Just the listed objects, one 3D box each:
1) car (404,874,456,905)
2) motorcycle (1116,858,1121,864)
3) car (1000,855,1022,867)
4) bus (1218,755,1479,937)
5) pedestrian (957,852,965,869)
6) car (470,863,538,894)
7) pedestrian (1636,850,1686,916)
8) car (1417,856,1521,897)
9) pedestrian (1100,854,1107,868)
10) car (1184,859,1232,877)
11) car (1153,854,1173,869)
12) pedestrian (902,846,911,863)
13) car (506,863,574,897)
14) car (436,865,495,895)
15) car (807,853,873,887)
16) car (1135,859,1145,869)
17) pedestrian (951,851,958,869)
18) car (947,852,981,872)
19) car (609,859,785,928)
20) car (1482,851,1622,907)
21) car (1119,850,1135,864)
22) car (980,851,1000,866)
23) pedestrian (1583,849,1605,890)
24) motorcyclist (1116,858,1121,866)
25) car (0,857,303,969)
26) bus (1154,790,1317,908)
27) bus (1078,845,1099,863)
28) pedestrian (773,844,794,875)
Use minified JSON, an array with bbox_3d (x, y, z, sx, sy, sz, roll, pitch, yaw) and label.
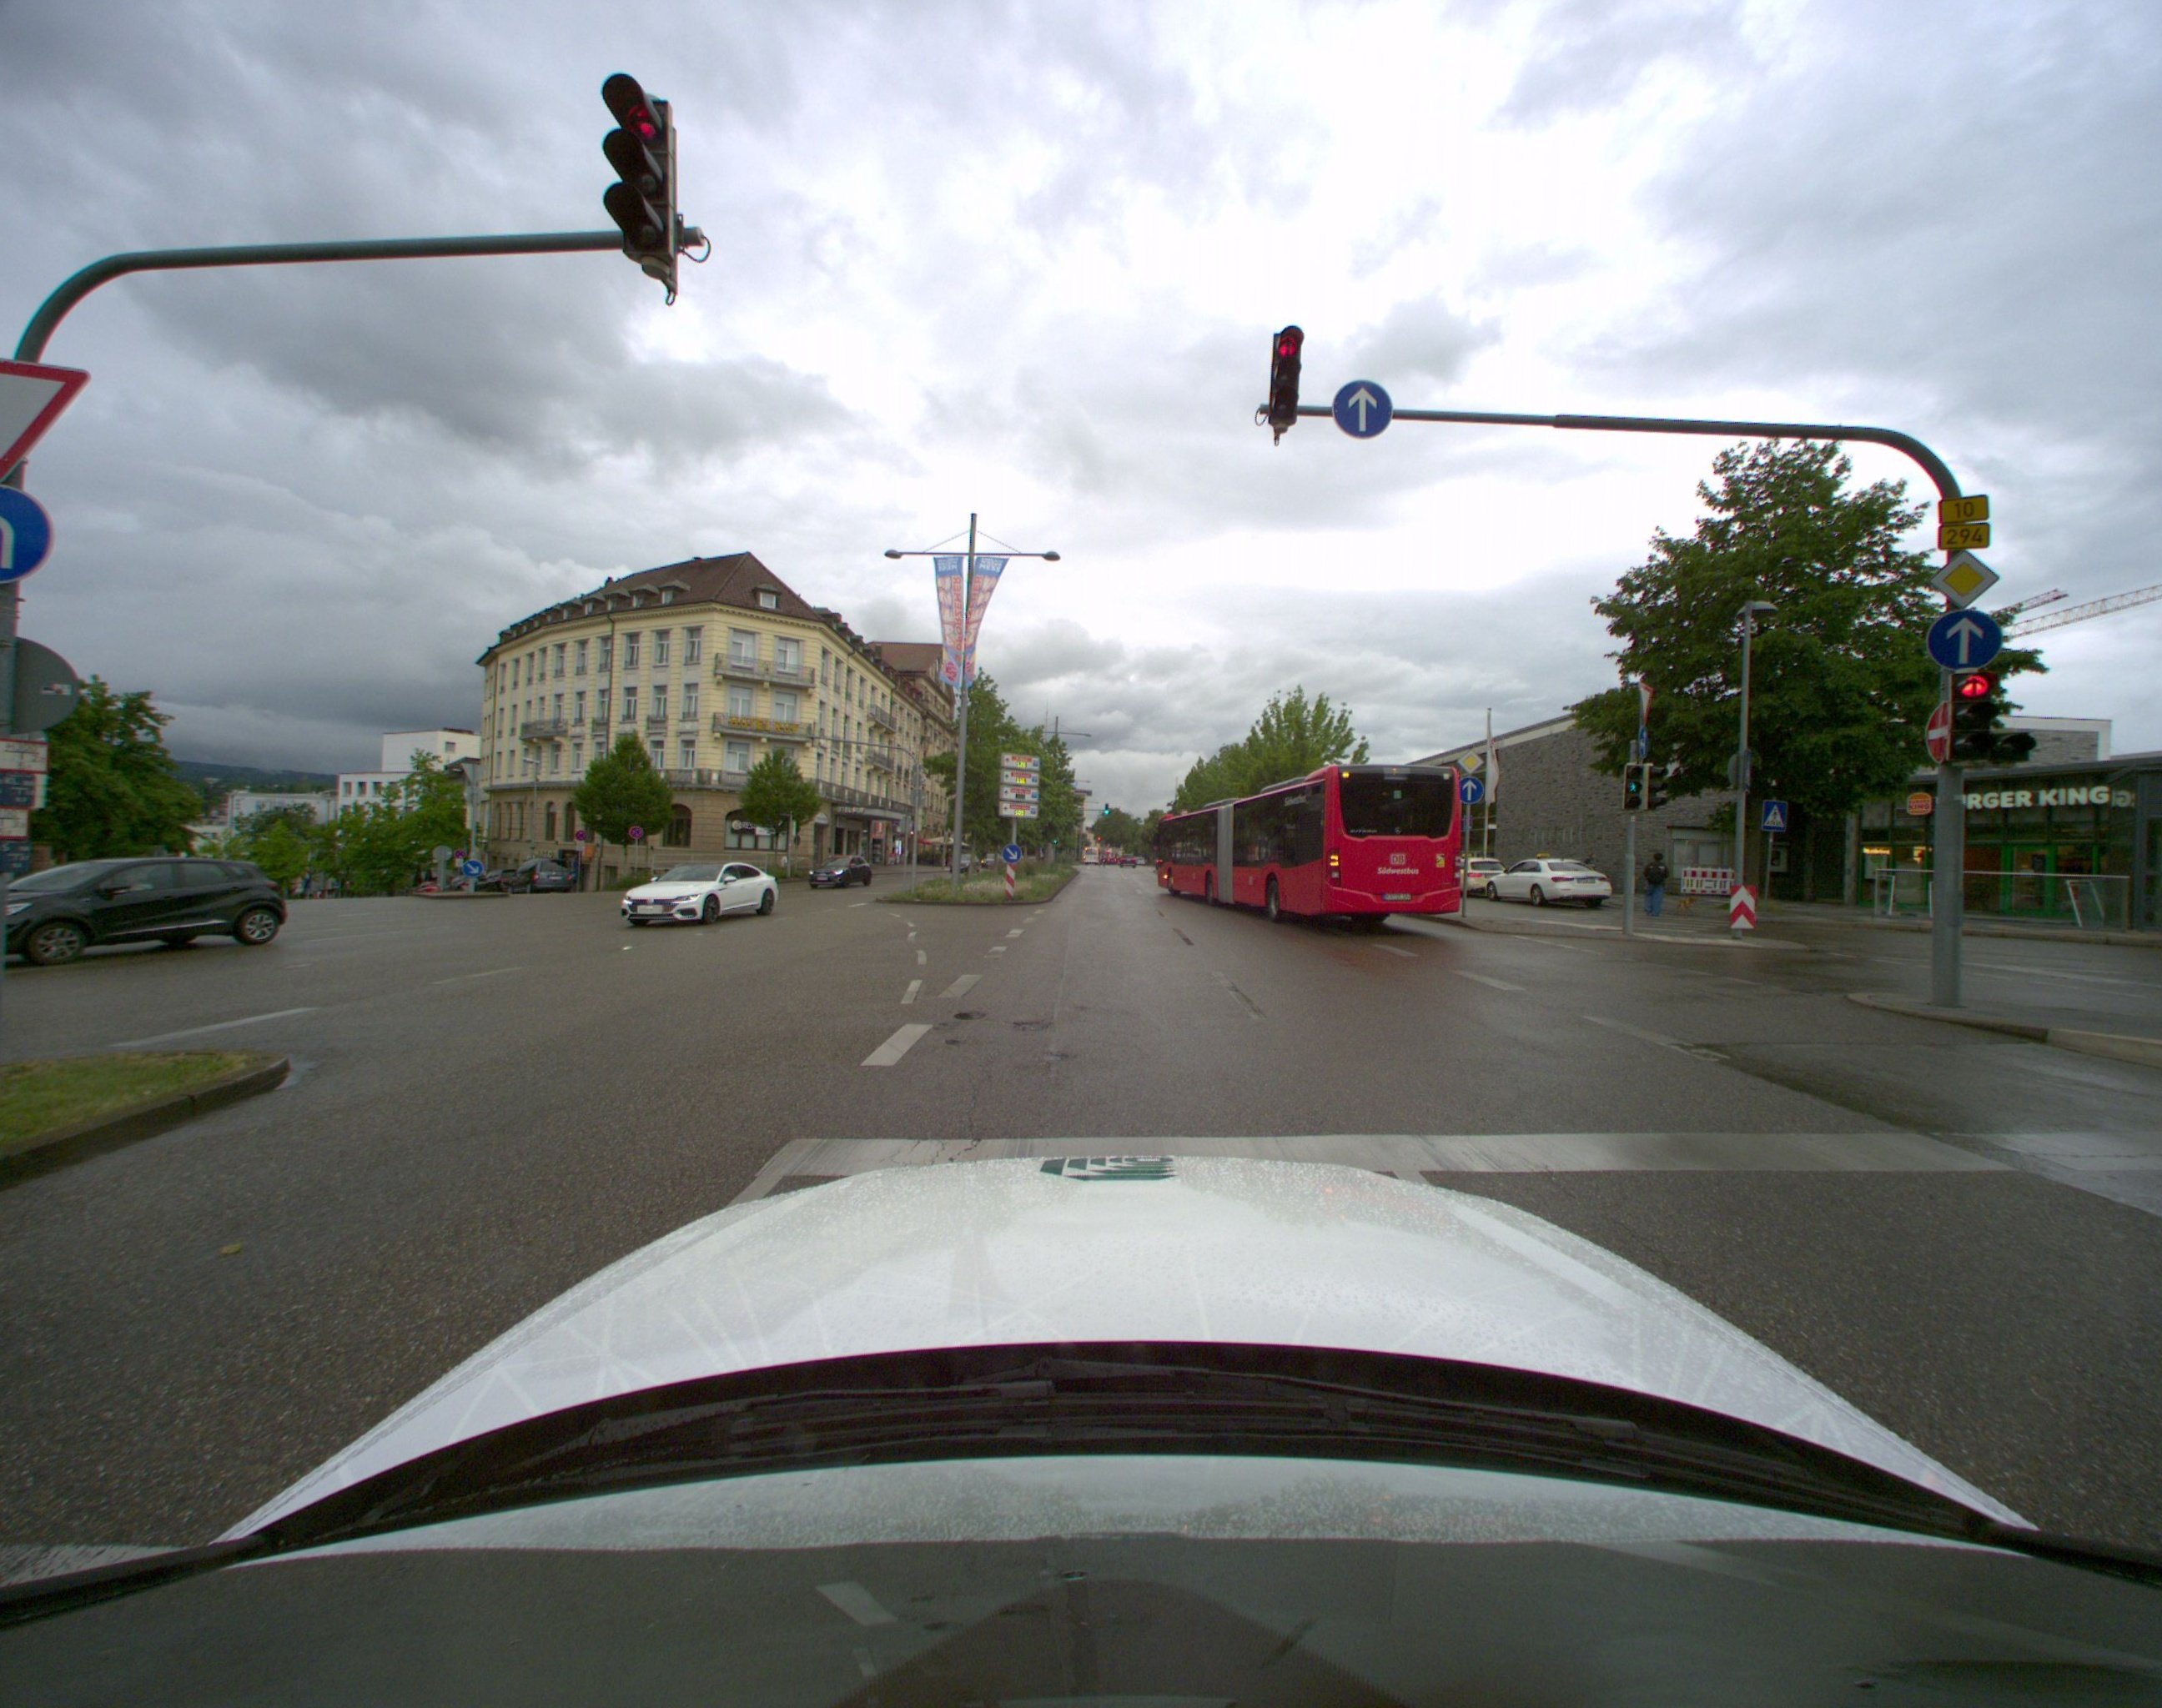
[{"bbox_3d":[-41.188,2.212,51.486,3.575,1.812,1.788,0,0,38],"label":"car"},{"bbox_3d":[6.491,1.244,139.976,0.763,1.077,2.176,0,0,2],"label":"motorcycle"},{"bbox_3d":[-7.904,0.800,92.073,1.747,1.369,4.064,0,0,4],"label":"car"},{"bbox_3d":[5.410,-0.129,18.383,2.738,3.174,8.108,0,0,-4],"label":"bus"},{"bbox_3d":[-11.791,0.638,79.817,0.672,1.701,0.634,0,0,1],"label":"pedestrian"},{"bbox_3d":[-31.970,1.331,45.106,3.948,1.640,2.013,-1,-1,37],"label":"car"},{"bbox_3d":[14.967,0.733,21.019,0.805,1.674,0.713,0,0,1],"label":"pedestrian"},{"bbox_3d":[14.786,0.795,31.369,1.840,1.452,4.666,0,0,0],"label":"car"},{"bbox_3d":[2.718,0.812,99.925,0.754,1.701,0.561,0,0,8],"label":"pedestrian"},{"bbox_3d":[12.822,1.398,82.132,4.348,1.857,1.988,0,0,-18],"label":"car"},{"bbox_3d":[8.560,0.768,85.370,1.809,1.530,4.001,0,0,2],"label":"car"},{"bbox_3d":[-16.103,0.039,75.156,0.666,1.510,0.513,0,-1,-36],"label":"pedestrian"},{"bbox_3d":[-27.101,1.275,40.764,3.949,1.568,1.812,0,0,41],"label":"car"},{"bbox_3d":[-36.312,1.495,48.026,3.864,1.640,1.805,0,0,37],"label":"car"},{"bbox_3d":[-11.406,0.732,38.827,1.623,1.476,4.031,-1,0,4],"label":"car"},{"bbox_3d":[11.107,1.847,152.848,1.781,1.860,4.001,0,0,2],"label":"car"},{"bbox_3d":[-12.385,0.577,79.776,0.573,1.732,0.609,0,0,1],"label":"pedestrian"},{"bbox_3d":[-8.972,0.596,62.617,1.747,1.441,4.064,0,0,4],"label":"car"},{"bbox_3d":[-9.047,0.862,19.718,1.717,1.381,4.864,-1,0,3],"label":"car"},{"bbox_3d":[14.646,0.728,25.650,1.768,1.589,4.615,0,0,0],"label":"car"},{"bbox_3d":[6.065,0.384,108.214,1.986,1.806,4.691,0,0,2],"label":"car"},{"bbox_3d":[-8.610,0.438,77.380,1.752,1.369,4.053,0,0,-5],"label":"car"},{"bbox_3d":[20.604,0.616,32.705,0.558,1.633,0.566,0,0,0],"label":"pedestrian"},{"bbox_3d":[6.475,1.338,139.968,0.761,1.331,0.867,0,0,2],"label":"motorcyclist"},{"bbox_3d":[-15.559,0.827,13.148,1.761,1.530,4.088,0,0,8],"label":"car"},{"bbox_3d":[4.687,-0.125,27.244,2.738,3.174,10.177,0,0,-5],"label":"bus"},{"bbox_3d":[1.492,0.029,156.203,3.747,3.209,15.527,0,0,1],"label":"bus"},{"bbox_3d":[-17.884,0.332,49.021,0.860,1.878,1.023,0,0,1],"label":"pedestrian"}]
